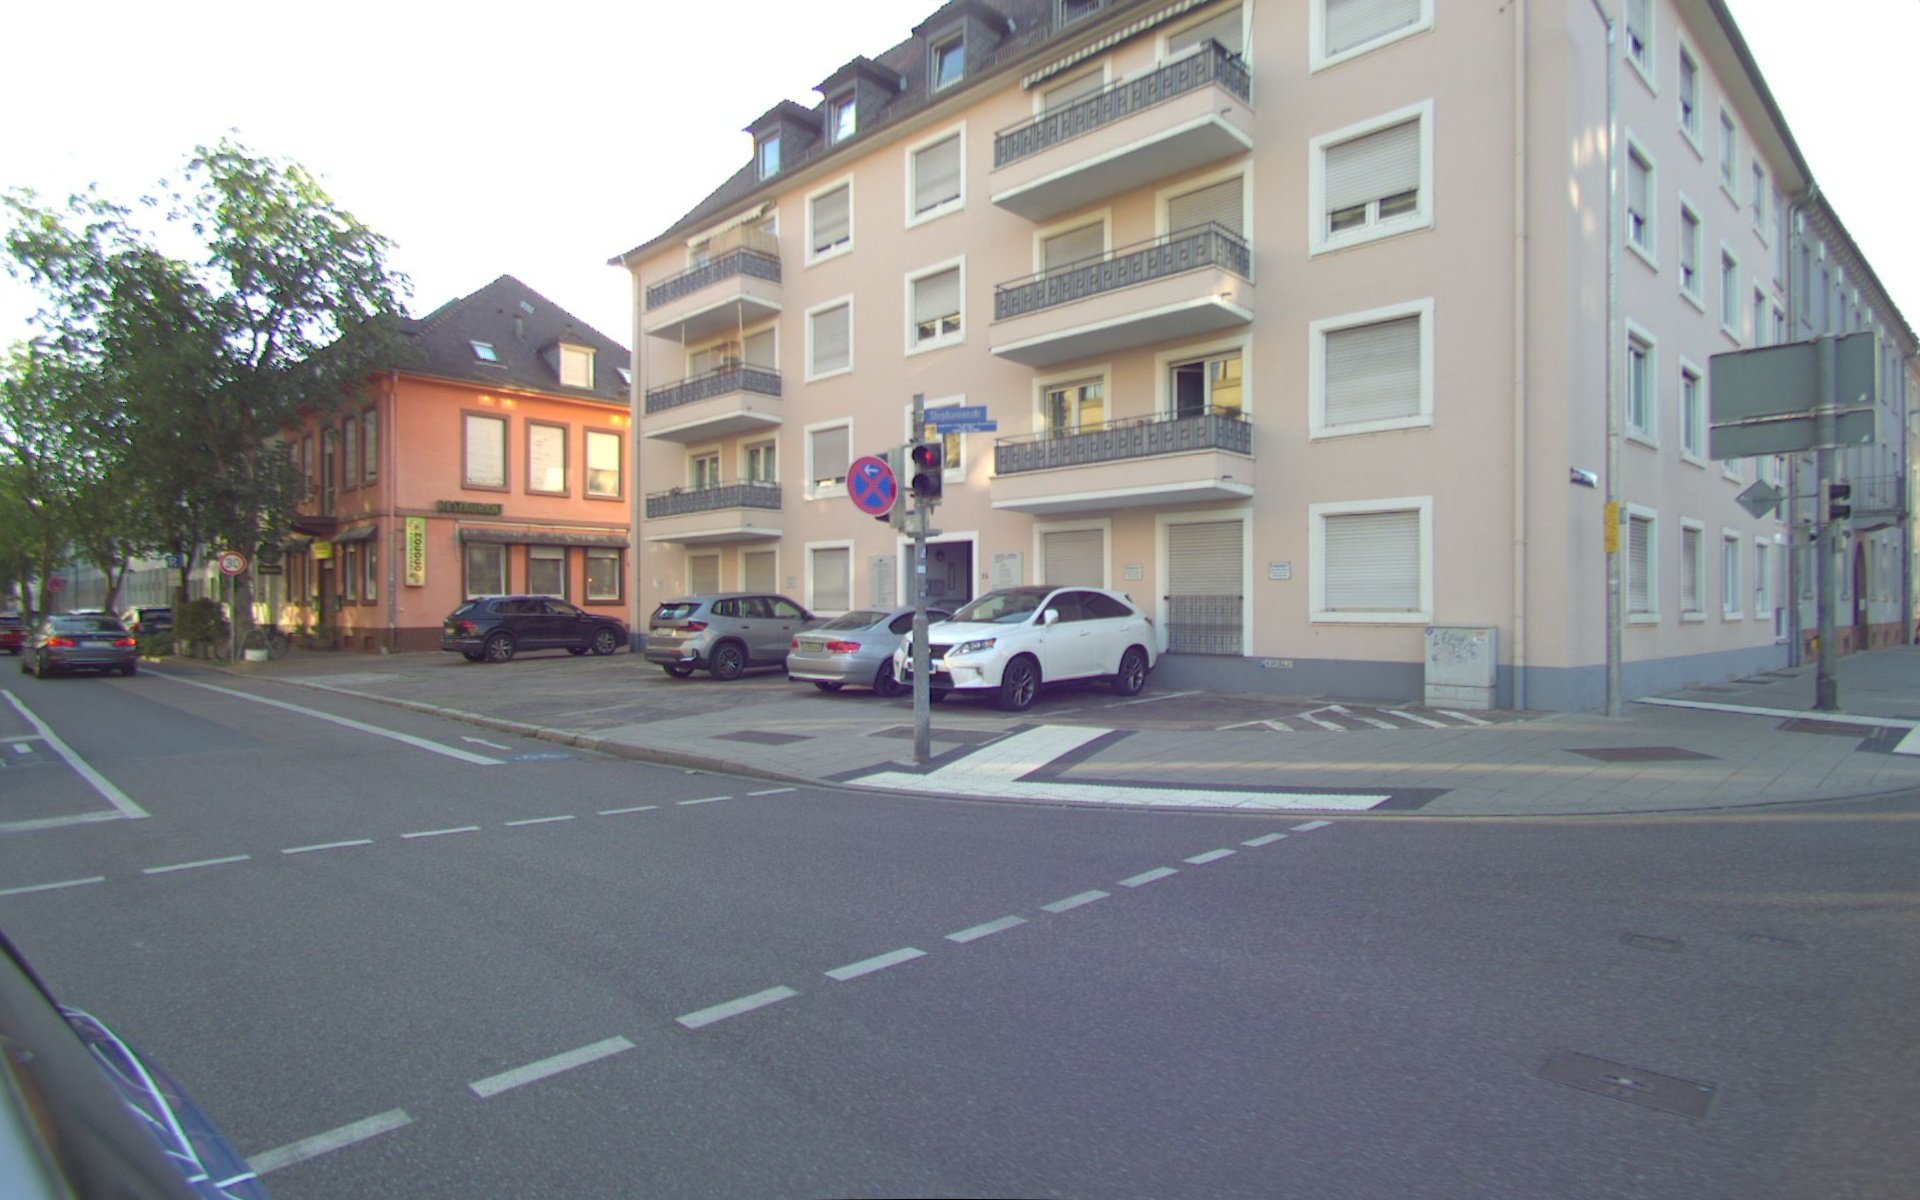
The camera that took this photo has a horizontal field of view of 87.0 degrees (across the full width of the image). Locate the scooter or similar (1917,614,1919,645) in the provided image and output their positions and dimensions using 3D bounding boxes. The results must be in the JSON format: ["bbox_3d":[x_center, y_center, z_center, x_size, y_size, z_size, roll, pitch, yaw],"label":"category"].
[{"bbox_3d":[35.816,1.085,37.461,0.847,1.137,0.398,0,-1,-37],"label":"scooter or similar"}]

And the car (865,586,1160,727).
[{"bbox_3d":[0.912,0.692,14.776,1.942,1.653,4.393,-1,1,42],"label":"car"}]

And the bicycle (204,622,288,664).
[{"bbox_3d":[-20.140,1.197,28.574,0.609,1.112,1.849,-1,0,37],"label":"bicycle"}]

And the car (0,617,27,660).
[{"bbox_3d":[-36.180,1.413,37.484,4.844,1.557,1.812,-2,-2,41],"label":"car"}]

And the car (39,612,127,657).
[{"bbox_3d":[-36.747,1.412,42.380,4.649,1.680,1.811,-1,3,38],"label":"car"}]

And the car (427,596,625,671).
[{"bbox_3d":[-11.285,0.808,26.531,1.863,1.678,4.371,-1,1,42],"label":"car"}]

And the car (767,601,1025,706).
[{"bbox_3d":[-0.929,0.785,16.669,1.735,1.391,4.221,-1,1,42],"label":"car"}]

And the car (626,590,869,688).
[{"bbox_3d":[-4.057,0.683,19.871,1.916,1.617,4.371,-1,1,42],"label":"car"}]

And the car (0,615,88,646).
[{"bbox_3d":[-52.238,1.689,57.262,1.800,1.702,4.175,-1,-1,41],"label":"car"}]

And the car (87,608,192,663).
[{"bbox_3d":[-30.134,1.265,37.109,5.041,1.772,1.811,-1,3,38],"label":"car"}]

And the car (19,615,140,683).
[{"bbox_3d":[-21.097,1.102,24.192,4.424,1.470,1.762,-1,-1,44],"label":"car"}]
